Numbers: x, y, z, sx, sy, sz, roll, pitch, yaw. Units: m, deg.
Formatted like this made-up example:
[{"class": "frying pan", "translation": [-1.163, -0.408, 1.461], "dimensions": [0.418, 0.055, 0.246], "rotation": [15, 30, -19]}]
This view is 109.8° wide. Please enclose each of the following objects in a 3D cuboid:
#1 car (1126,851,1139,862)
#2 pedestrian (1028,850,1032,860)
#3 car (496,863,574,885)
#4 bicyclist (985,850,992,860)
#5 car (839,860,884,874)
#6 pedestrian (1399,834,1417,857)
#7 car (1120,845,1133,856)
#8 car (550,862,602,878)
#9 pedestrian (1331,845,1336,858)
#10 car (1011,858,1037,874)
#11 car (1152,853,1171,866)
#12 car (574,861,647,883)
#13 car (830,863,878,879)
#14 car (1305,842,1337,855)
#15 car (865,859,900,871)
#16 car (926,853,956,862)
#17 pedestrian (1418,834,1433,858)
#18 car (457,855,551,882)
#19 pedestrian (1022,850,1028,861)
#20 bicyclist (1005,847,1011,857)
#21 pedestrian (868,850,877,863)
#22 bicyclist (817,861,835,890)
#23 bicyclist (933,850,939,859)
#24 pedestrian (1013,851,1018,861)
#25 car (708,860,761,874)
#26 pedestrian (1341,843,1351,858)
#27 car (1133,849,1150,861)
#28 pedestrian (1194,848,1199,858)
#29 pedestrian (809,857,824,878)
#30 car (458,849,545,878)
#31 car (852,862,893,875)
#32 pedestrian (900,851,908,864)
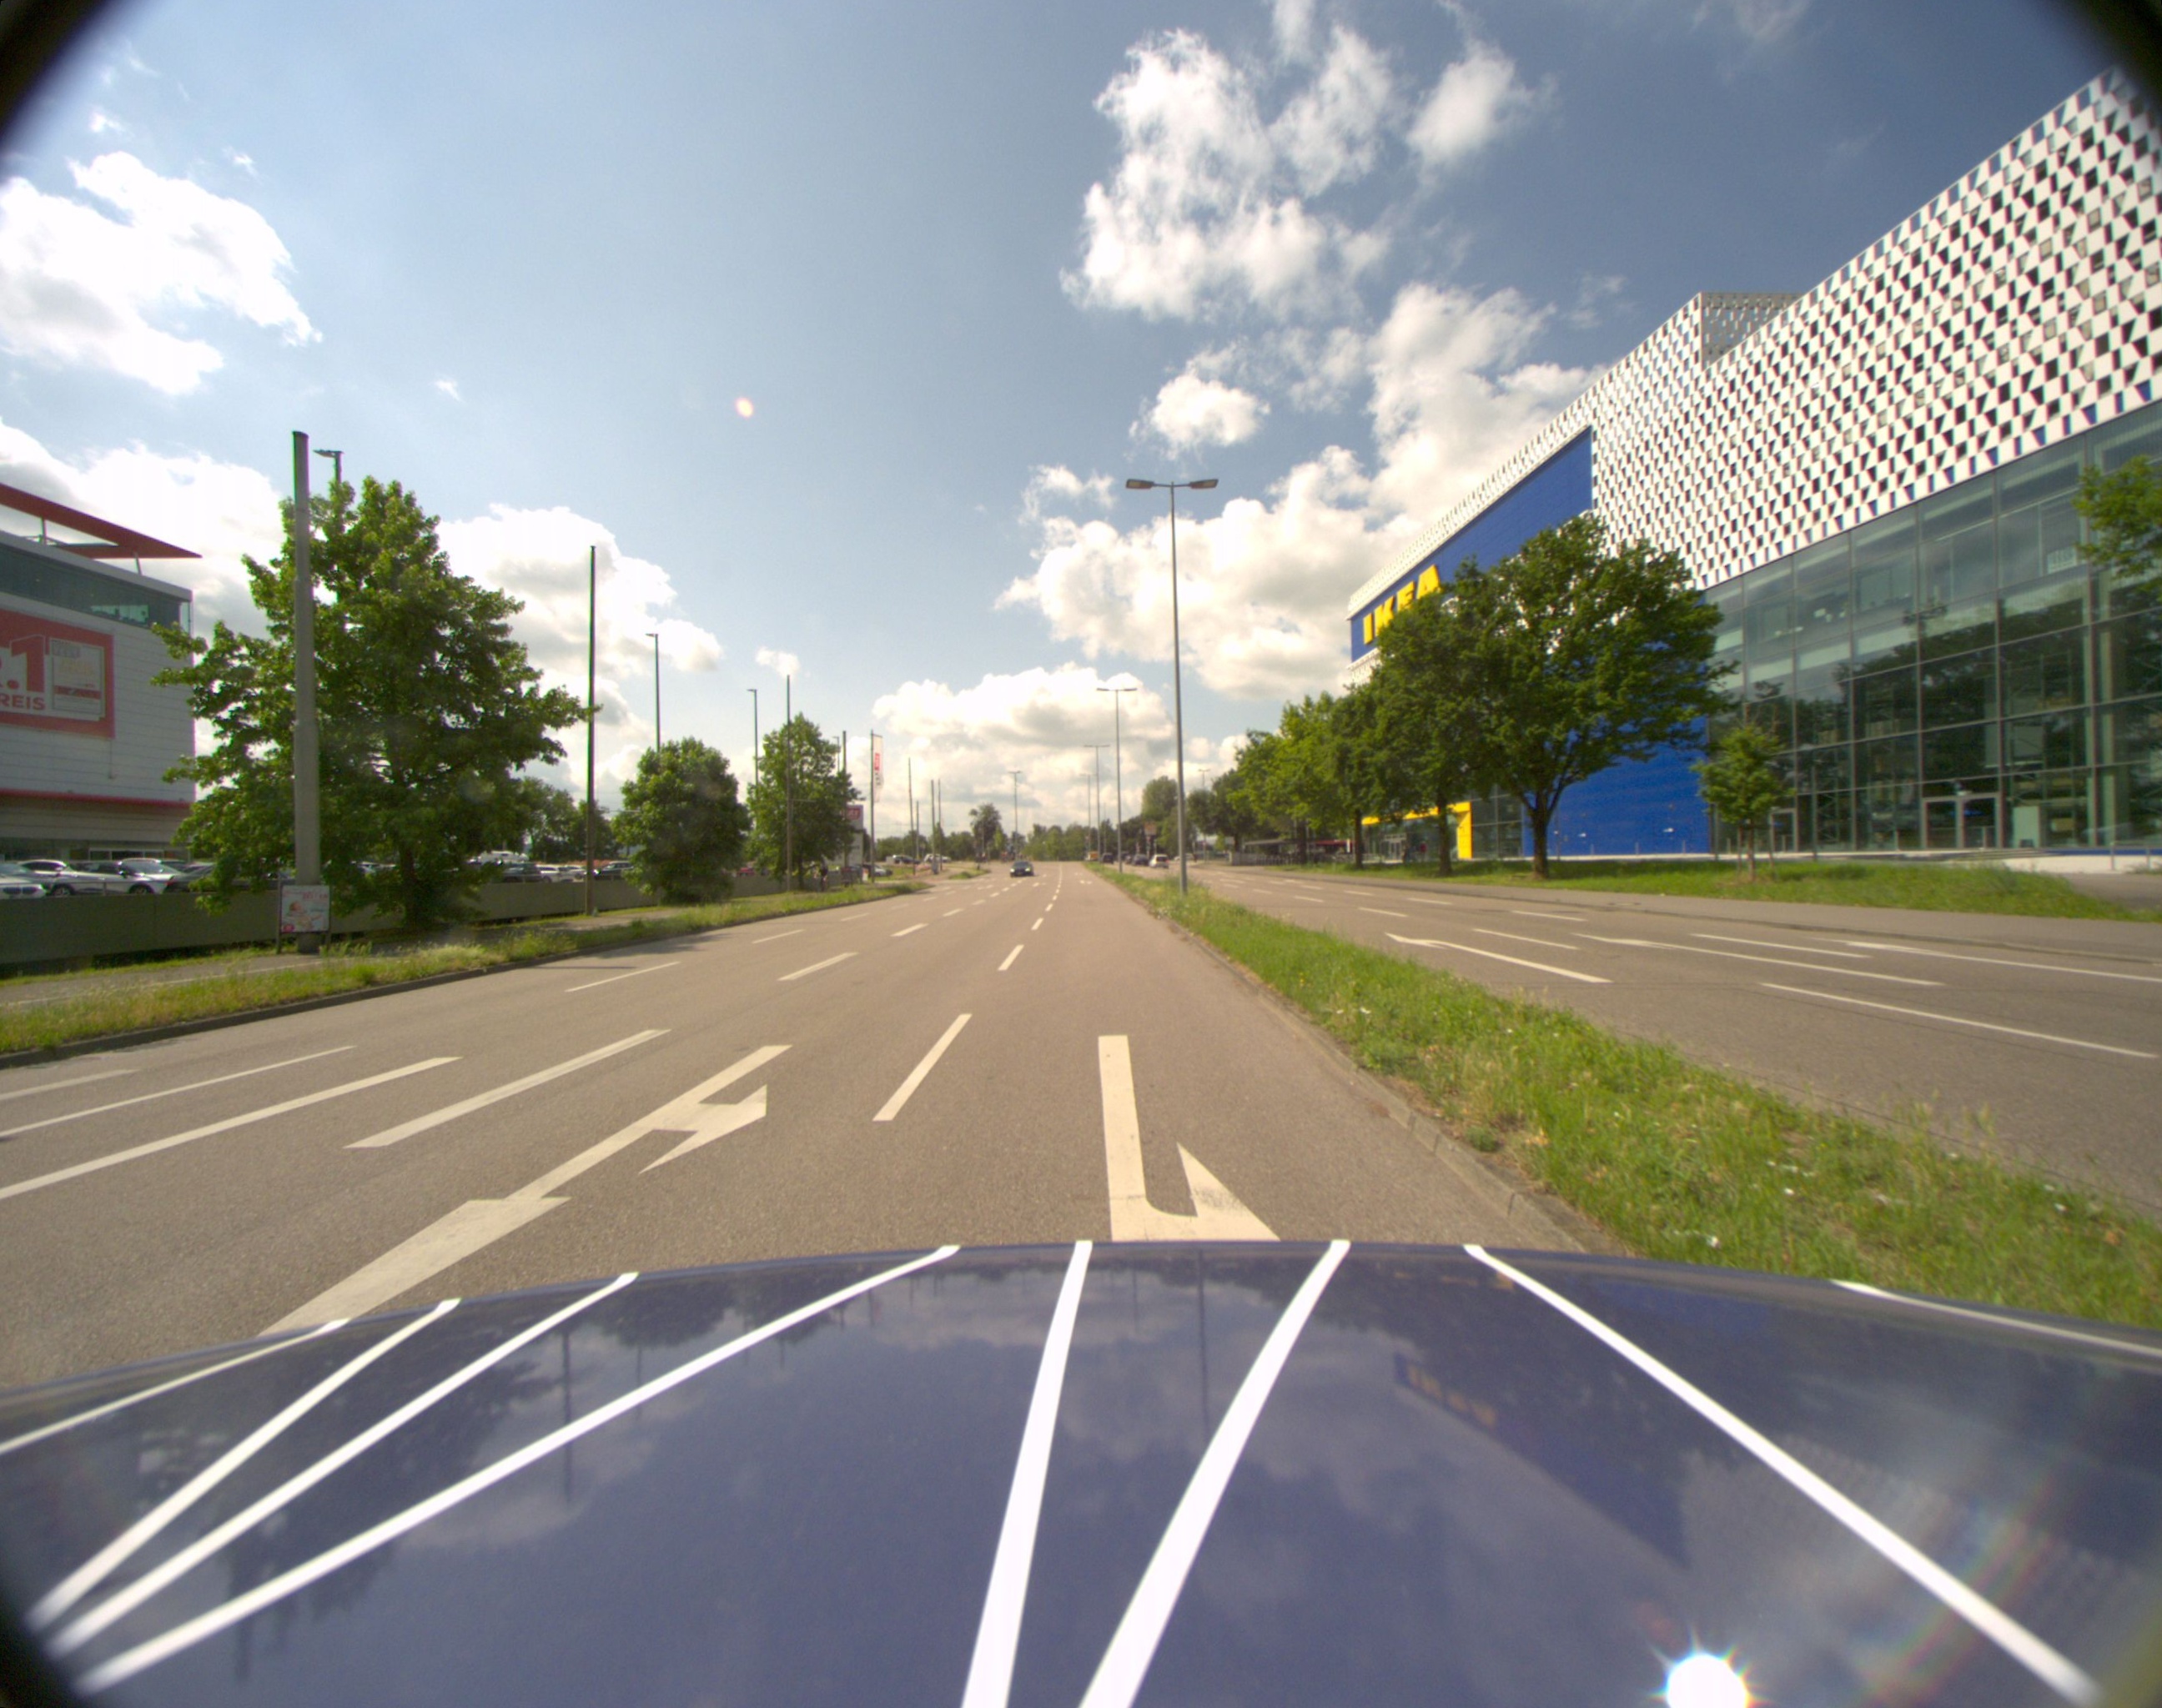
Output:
[{"class": "car", "translation": [7.154, 0.344, 104.965], "dimensions": [1.415, 1.383, 4.095], "rotation": [1, 1, -1]}, {"class": "pedestrian", "translation": [-7.794, 0.225, 116.659], "dimensions": [0.556, 1.515, 0.470], "rotation": [-2, 0, 8]}, {"class": "car", "translation": [-39.395, 1.444, 54.864], "dimensions": [4.300, 1.419, 1.760], "rotation": [-1, -2, -1]}, {"class": "bicyclist", "translation": [-14.088, 0.162, 115.426], "dimensions": [0.744, 1.466, 0.649], "rotation": [-2, 0, -39]}, {"class": "car", "translation": [-24.607, 1.466, 85.249], "dimensions": [4.370, 1.408, 1.856], "rotation": [-2, 0, -1]}, {"class": "pedestrian", "translation": [25.056, -0.633, 58.248], "dimensions": [0.952, 1.693, 0.887], "rotation": [-2, 1, -1]}, {"class": "car", "translation": [7.264, -0.531, 121.348], "dimensions": [1.775, 1.606, 3.998], "rotation": [1, 2, -2]}, {"class": "car", "translation": [-49.884, 1.606, 75.090], "dimensions": [3.997, 1.443, 1.669], "rotation": [-2, 0, 0]}, {"class": "pedestrian", "translation": [33.930, -0.341, 102.180], "dimensions": [0.410, 1.693, 0.516], "rotation": [-2, 0, -7]}, {"class": "car", "translation": [-5.073, 1.078, 67.983], "dimensions": [1.797, 1.311, 4.163], "rotation": [-3, 0, 2]}, {"class": "car", "translation": [8.655, 0.561, 82.171], "dimensions": [1.647, 1.420, 3.670], "rotation": [0, 0, 0]}, {"class": "car", "translation": [-33.916, 1.297, 54.850], "dimensions": [4.065, 1.522, 1.741], "rotation": [0, 1, -5]}, {"class": "car", "translation": [-24.016, 1.766, 80.476], "dimensions": [4.369, 1.468, 1.857], "rotation": [-2, 0, 1]}, {"class": "car", "translation": [40.567, -0.911, 128.412], "dimensions": [4.821, 2.002, 1.999], "rotation": [-2, 0, -4]}, {"class": "car", "translation": [-24.823, 1.407, 95.133], "dimensions": [3.998, 1.410, 1.715], "rotation": [-1, 1, -3]}, {"class": "car", "translation": [-22.340, 0.499, 121.344], "dimensions": [4.495, 1.405, 2.013], "rotation": [-1, 0, -4]}, {"class": "pedestrian", "translation": [26.522, -0.636, 58.498], "dimensions": [0.755, 1.812, 0.887], "rotation": [-2, 1, -1]}, {"class": "car", "translation": [-34.447, 0.842, 45.424], "dimensions": [4.193, 1.543, 1.764], "rotation": [0, 0, -2]}, {"class": "pedestrian", "translation": [-8.389, 0.197, 114.362], "dimensions": [0.688, 1.718, 0.701], "rotation": [-1, 2, 10]}, {"class": "bicyclist", "translation": [-11.341, -0.257, 117.664], "dimensions": [0.698, 1.526, 0.619], "rotation": [-2, 0, -43]}, {"class": "pedestrian", "translation": [-29.541, 0.309, 107.613], "dimensions": [0.820, 1.792, 0.761], "rotation": [-1, 1, 26]}, {"class": "bicyclist", "translation": [-12.528, 1.050, 37.298], "dimensions": [0.617, 1.404, 0.715], "rotation": [-1, 0, 0]}, {"class": "bicyclist", "translation": [-21.174, 0.070, 110.678], "dimensions": [0.688, 1.318, 0.591], "rotation": [-2, 0, -26]}, {"class": "pedestrian", "translation": [-9.927, 0.315, 115.099], "dimensions": [0.585, 1.515, 0.469], "rotation": [-2, 1, 8]}, {"class": "car", "translation": [-33.977, 1.290, 74.575], "dimensions": [4.369, 1.354, 1.847], "rotation": [0, -1, 1]}, {"class": "pedestrian", "translation": [29.601, -0.419, 84.824], "dimensions": [0.898, 1.697, 0.710], "rotation": [-2, 1, -2]}, {"class": "car", "translation": [7.559, 0.140, 95.160], "dimensions": [1.668, 1.413, 4.517], "rotation": [1, 1, -2]}, {"class": "pedestrian", "translation": [17.478, -0.173, 115.232], "dimensions": [0.439, 1.482, 0.619], "rotation": [-2, 1, -18]}, {"class": "pedestrian", "translation": [-22.842, 1.166, 65.653], "dimensions": [0.782, 1.772, 0.874], "rotation": [-2, 0, 44]}, {"class": "car", "translation": [-68.377, 1.093, 89.734], "dimensions": [7.898, 3.136, 3.122], "rotation": [-1, 1, 2]}, {"class": "car", "translation": [-24.897, 1.704, 90.703], "dimensions": [4.370, 1.431, 1.796], "rotation": [-2, 0, -1]}, {"class": "pedestrian", "translation": [-24.939, 0.431, 107.131], "dimensions": [0.865, 1.754, 0.863], "rotation": [2, -3, -4]}]
